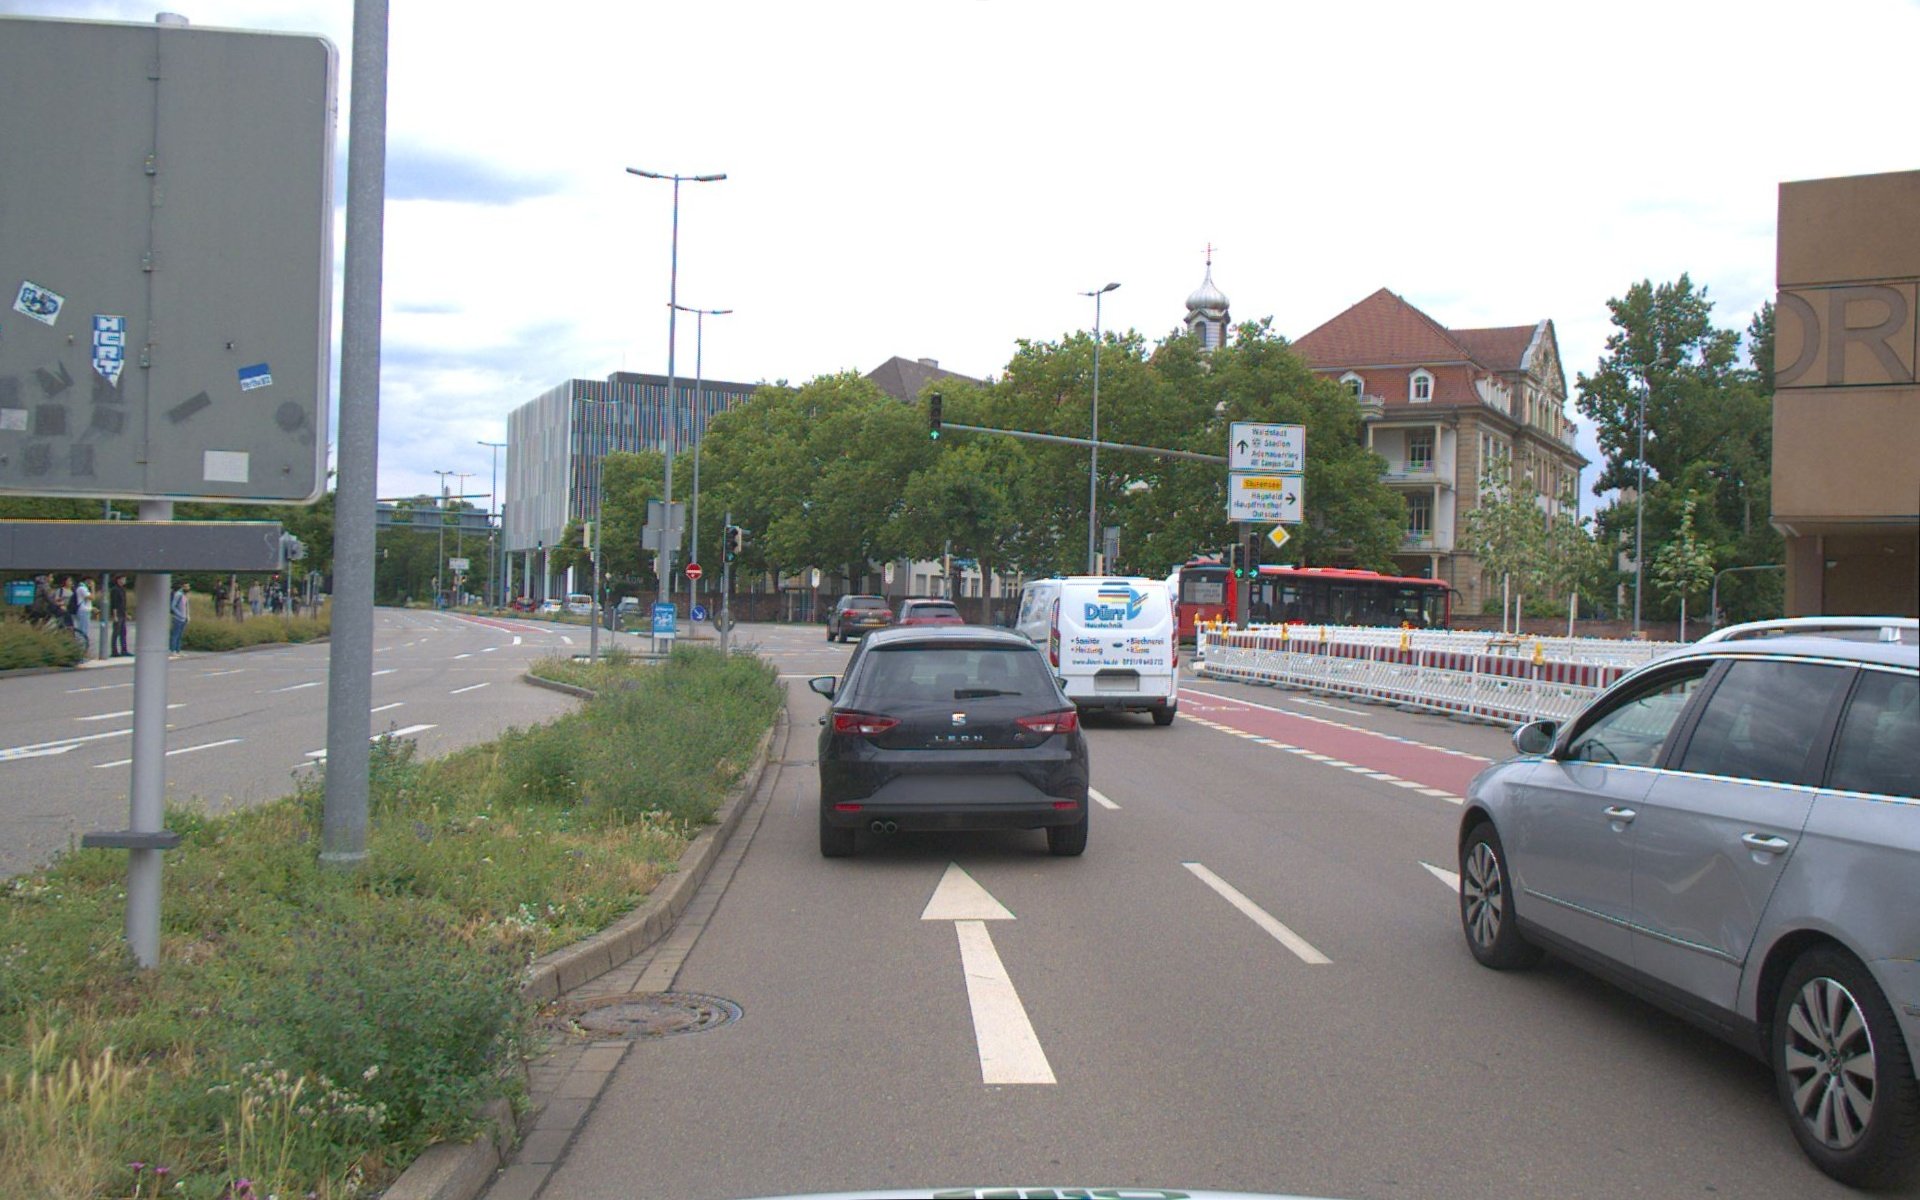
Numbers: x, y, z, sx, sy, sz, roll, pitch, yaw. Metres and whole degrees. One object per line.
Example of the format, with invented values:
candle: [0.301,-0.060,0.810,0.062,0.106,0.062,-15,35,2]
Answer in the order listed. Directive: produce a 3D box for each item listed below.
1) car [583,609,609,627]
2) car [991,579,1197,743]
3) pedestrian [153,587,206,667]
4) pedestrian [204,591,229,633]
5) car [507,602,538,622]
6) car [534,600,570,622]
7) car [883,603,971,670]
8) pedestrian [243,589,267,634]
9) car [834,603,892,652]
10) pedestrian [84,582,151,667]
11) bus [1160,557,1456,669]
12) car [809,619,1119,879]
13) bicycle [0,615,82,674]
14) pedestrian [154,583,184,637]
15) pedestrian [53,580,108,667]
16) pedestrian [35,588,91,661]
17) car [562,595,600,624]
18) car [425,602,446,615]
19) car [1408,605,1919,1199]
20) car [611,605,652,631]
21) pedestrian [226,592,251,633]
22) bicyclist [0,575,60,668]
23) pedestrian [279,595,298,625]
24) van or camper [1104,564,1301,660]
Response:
car: [-29.104,1.414,132.304,1.505,1.389,2.948,2,-1,-23]
car: [1.787,0.824,23.845,1.955,2.054,5.024,2,-1,-7]
pedestrian: [-18.728,0.646,39.697,0.875,1.875,0.667,2,-1,-3]
pedestrian: [-32.557,0.522,72.457,0.742,1.796,0.903,2,-1,-12]
car: [-39.418,1.113,149.021,1.969,1.711,3.978,2,-1,-25]
car: [-32.409,0.848,131.325,1.968,1.668,3.968,2,-1,-25]
car: [-0.925,0.952,43.717,1.823,1.628,4.197,2,-1,-8]
pedestrian: [-32.518,0.522,76.267,0.742,2.049,1.044,2,-1,-12]
car: [-3.483,0.973,58.927,1.954,1.593,4.201,2,-1,-4]
pedestrian: [-19.235,0.560,37.770,1.027,1.875,0.865,2,-1,-3]
bus: [12.451,0.568,58.001,12.253,3.355,3.026,3,-2,-39]
car: [-0.149,0.908,11.680,1.712,1.490,3.993,0,-1,-7]
bicycle: [-19.280,0.912,34.194,0.773,1.179,1.906,1,-1,21]
pedestrian: [-30.600,0.408,63.985,0.742,2.049,1.044,2,-1,-12]
pedestrian: [-19.359,0.525,36.401,0.742,1.875,0.766,2,-1,-3]
pedestrian: [-21.122,0.584,38.974,0.825,1.678,0.805,2,-1,-3]
car: [-27.833,0.691,121.521,1.967,2.049,3.970,2,-1,-24]
car: [-55.791,0.896,175.956,1.689,1.287,3.315,3,-1,-24]
car: [3.109,0.802,5.635,1.686,1.508,4.625,1,-1,-3]
car: [-23.452,1.268,117.912,1.894,1.713,3.967,2,-1,-26]
pedestrian: [-31.815,0.553,72.935,0.742,1.743,1.044,2,-1,-12]
bicyclist: [-19.283,0.441,34.166,0.774,1.876,0.834,1,-1,21]
pedestrian: [-40.393,0.595,99.485,0.905,1.810,1.058,2,-1,-20]
van or camper: [9.284,0.525,63.260,7.038,3.391,2.854,2,-2,-25]
